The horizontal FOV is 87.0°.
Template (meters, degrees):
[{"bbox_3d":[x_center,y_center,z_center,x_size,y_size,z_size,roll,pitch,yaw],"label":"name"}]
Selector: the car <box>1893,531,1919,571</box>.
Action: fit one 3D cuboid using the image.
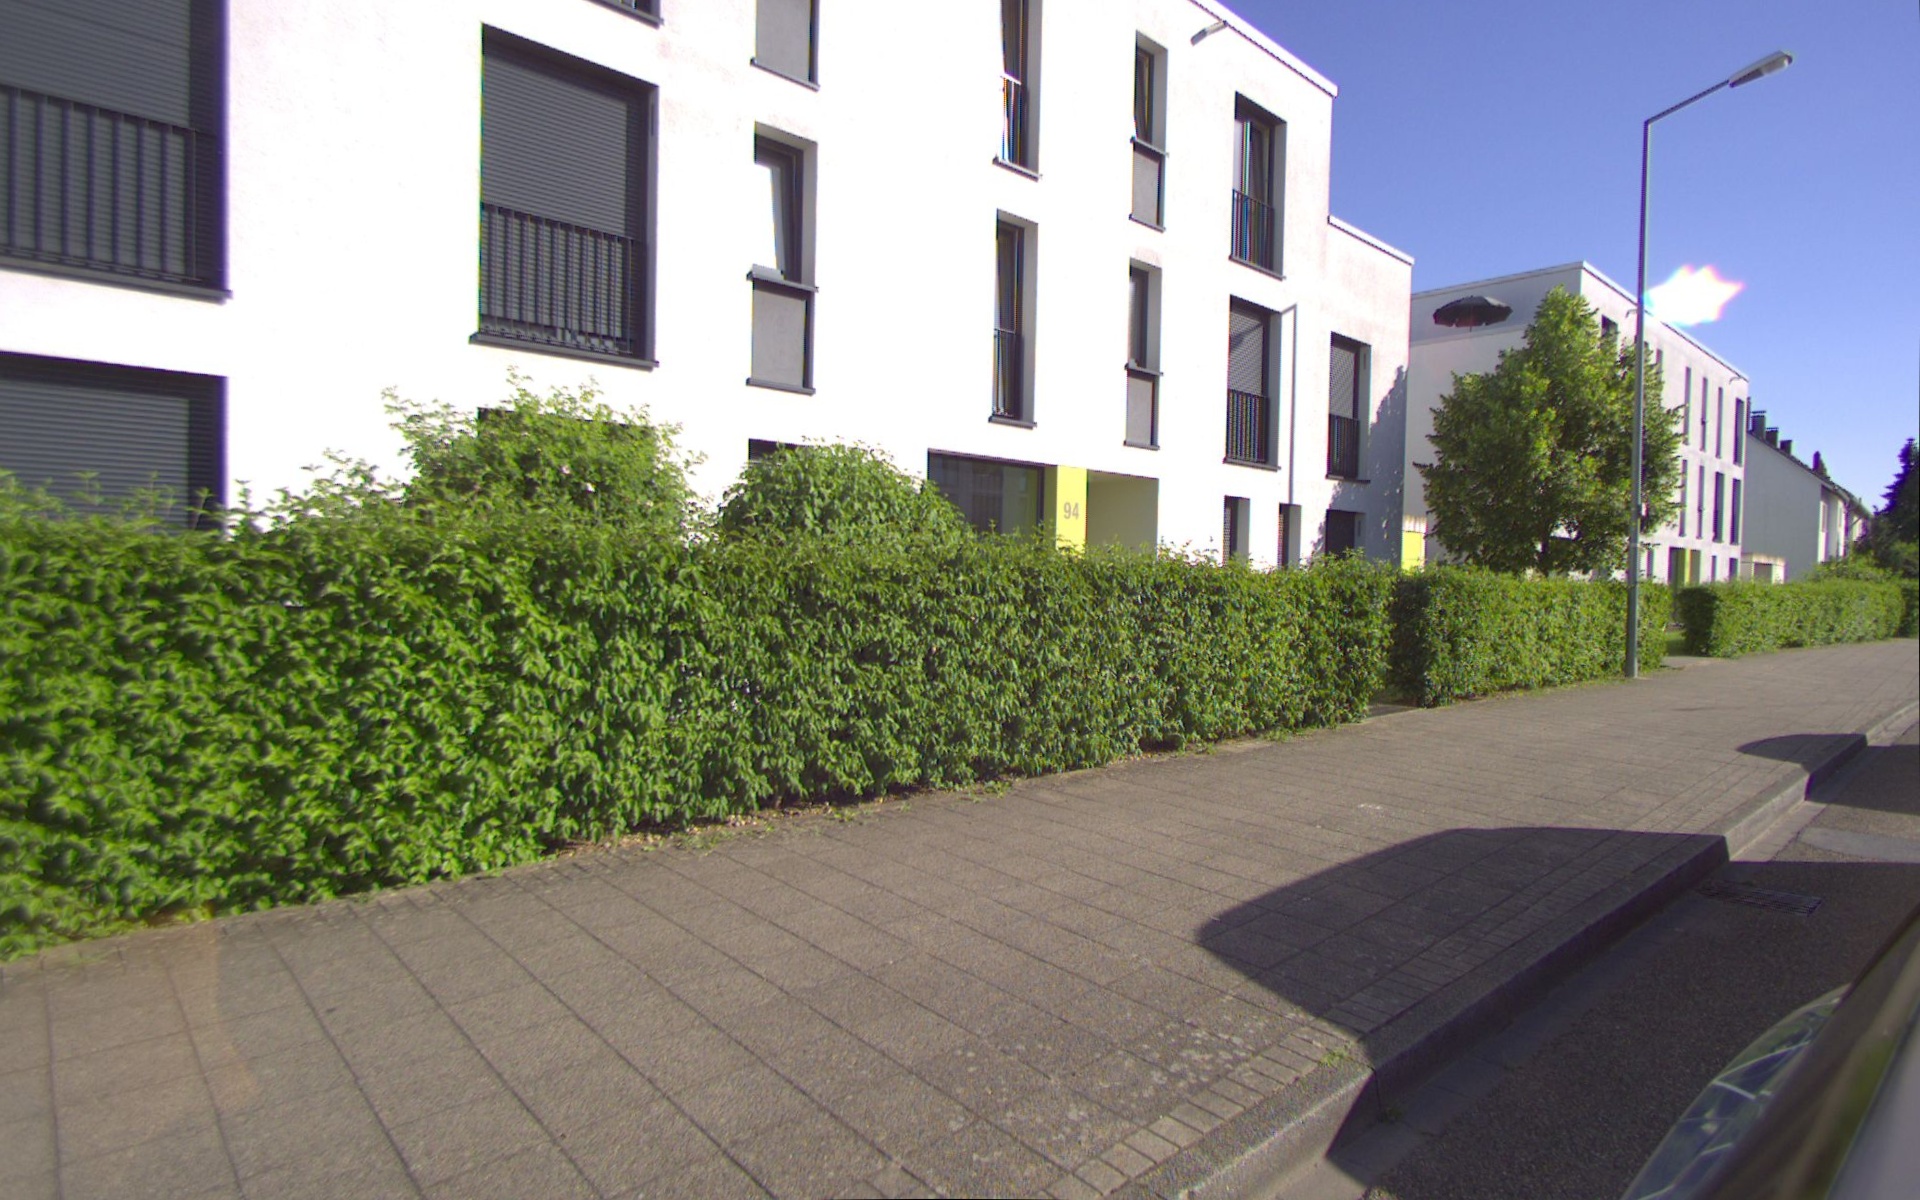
[{"bbox_3d":[61.818,-3.107,64.177,6.066,2.376,3.181,-1,0,-40],"label":"car"}]
